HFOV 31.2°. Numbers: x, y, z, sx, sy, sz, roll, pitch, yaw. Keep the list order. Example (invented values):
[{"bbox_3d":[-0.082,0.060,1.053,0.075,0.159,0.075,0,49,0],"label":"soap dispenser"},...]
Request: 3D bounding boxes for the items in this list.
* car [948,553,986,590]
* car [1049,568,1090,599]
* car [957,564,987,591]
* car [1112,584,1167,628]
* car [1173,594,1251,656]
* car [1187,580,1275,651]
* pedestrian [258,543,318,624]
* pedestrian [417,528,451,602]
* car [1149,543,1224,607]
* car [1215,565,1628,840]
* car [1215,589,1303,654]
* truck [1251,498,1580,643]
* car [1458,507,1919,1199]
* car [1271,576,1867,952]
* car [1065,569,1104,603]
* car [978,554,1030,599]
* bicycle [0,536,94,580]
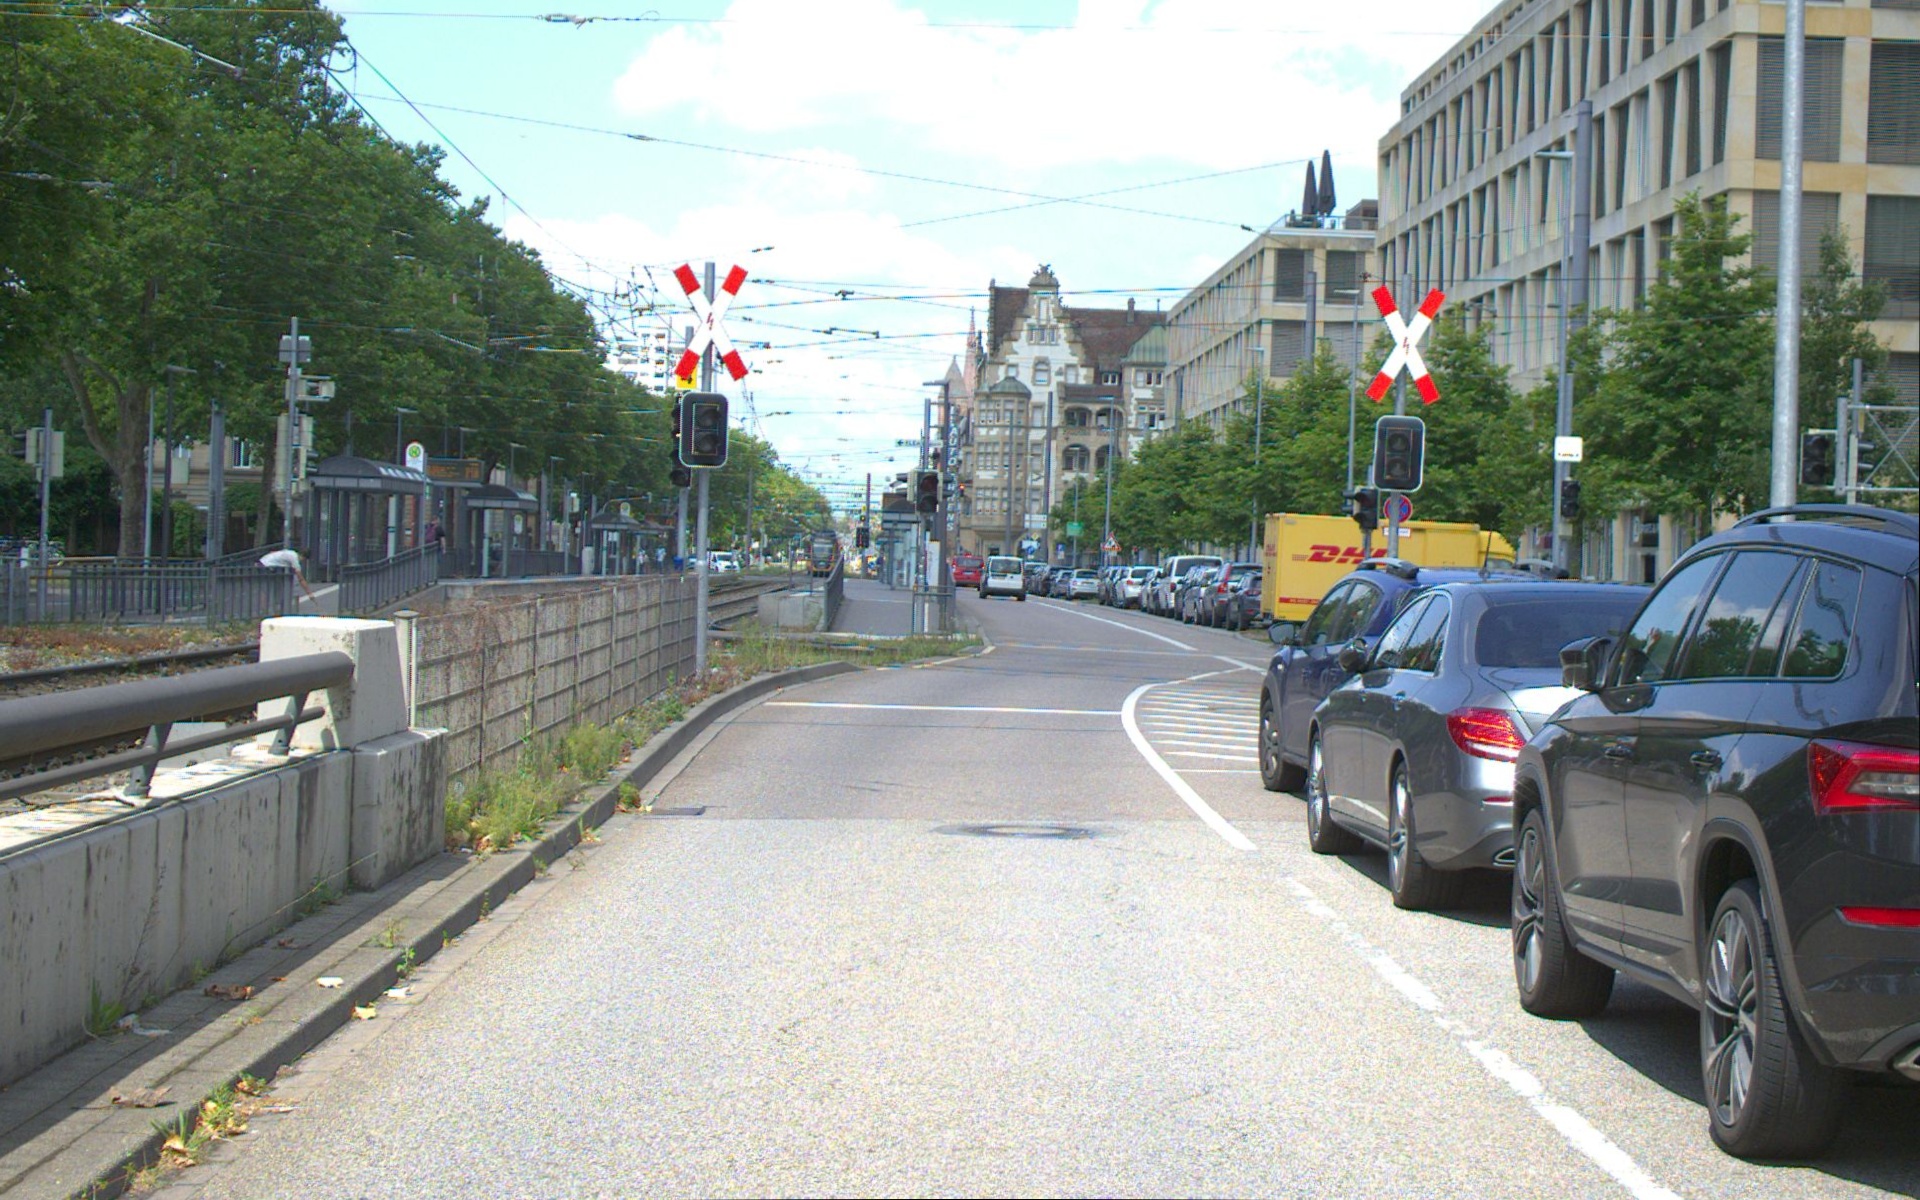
[{"bbox_3d":[0.366,-1.558,191.627,1.993,2.007,4.000,1,0,-1],"label":"car"},{"bbox_3d":[5.489,-0.837,172.810,1.591,1.429,4.108,5,0,-3],"label":"car"},{"bbox_3d":[0.674,-1.267,191.794,1.443,1.465,4.093,0,0,-3],"label":"car"},{"bbox_3d":[6.706,0.209,128.765,1.685,1.600,4.152,1,0,-1],"label":"car"},{"bbox_3d":[7.041,0.672,96.416,1.721,1.614,3.860,3,0,-1],"label":"car"},{"bbox_3d":[7.163,0.387,91.317,1.769,1.761,4.840,3,0,-1],"label":"car"},{"bbox_3d":[-11.350,-0.272,58.102,0.861,1.339,0.923,1,0,-4],"label":"pedestrian"},{"bbox_3d":[-13.130,-0.871,85.853,0.706,1.839,0.864,1,0,-2],"label":"pedestrian"},{"bbox_3d":[7.087,-0.775,107.997,1.881,1.932,4.843,1,0,-1],"label":"car"},{"bbox_3d":[2.811,0.567,21.886,1.779,1.535,4.421,1,0,-3],"label":"car"},{"bbox_3d":[7.437,0.514,85.868,1.691,1.499,4.068,3,0,-1],"label":"car"},{"bbox_3d":[10.116,-0.649,76.721,6.805,2.857,2.455,3,0,-3],"label":"truck"},{"bbox_3d":[2.761,0.614,9.930,1.816,1.656,4.671,1,1,-1],"label":"car"},{"bbox_3d":[2.704,0.651,16.480,1.816,1.449,4.991,1,1,-1],"label":"car"},{"bbox_3d":[5.841,-0.681,161.647,1.591,1.455,3.613,4,0,0],"label":"car"},{"bbox_3d":[1.795,-0.969,142.135,1.868,1.740,4.000,4,0,-2],"label":"car"},{"bbox_3d":[-30.901,-1.417,116.174,3.039,1.163,0.634,6,0,4],"label":"bicycle"}]
